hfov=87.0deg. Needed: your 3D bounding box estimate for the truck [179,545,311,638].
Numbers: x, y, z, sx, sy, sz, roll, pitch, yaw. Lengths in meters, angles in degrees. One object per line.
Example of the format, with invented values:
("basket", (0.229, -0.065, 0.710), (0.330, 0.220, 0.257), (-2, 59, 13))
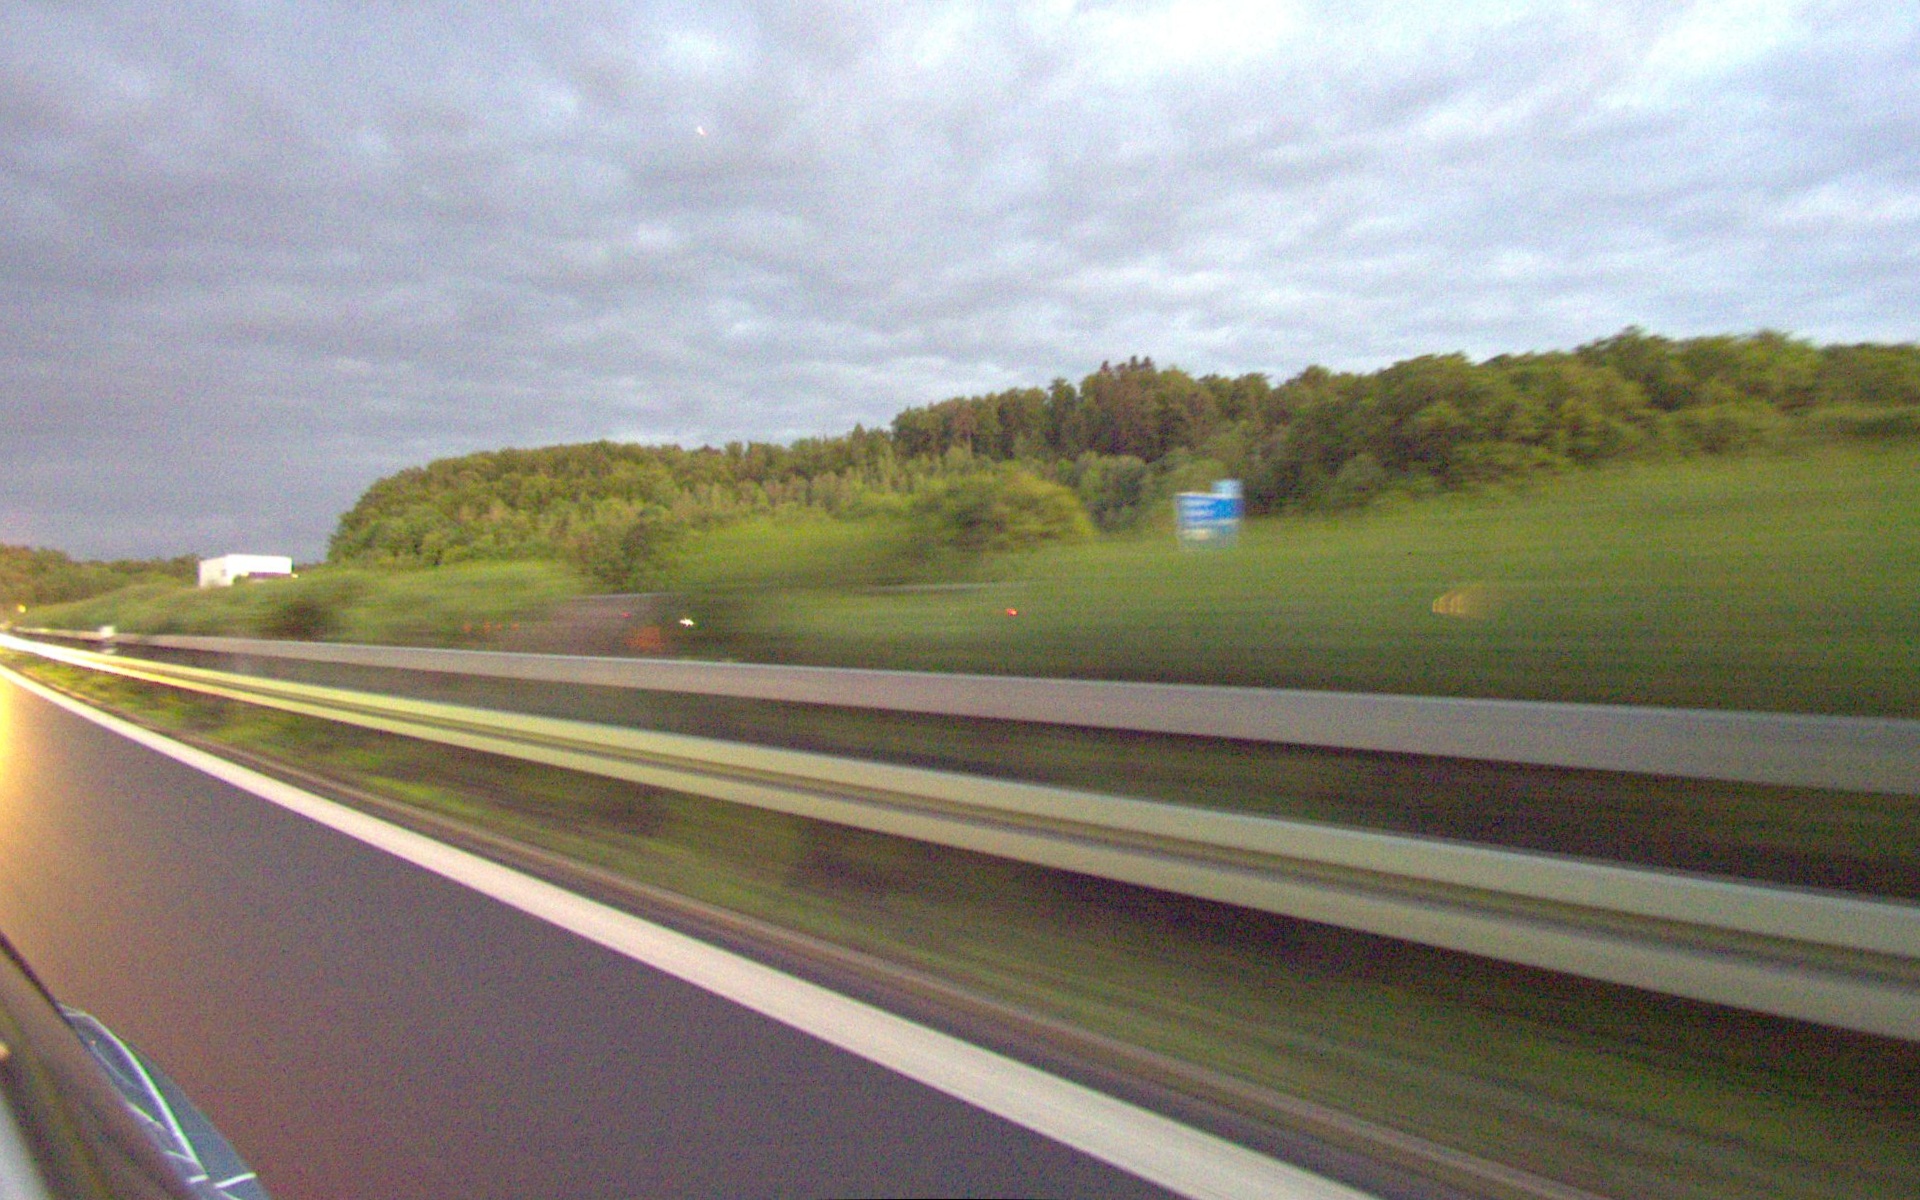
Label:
("truck", (-36.492, -0.359, 51.443), (9.883, 4.333, 3.008), (-1, 0, 40))
